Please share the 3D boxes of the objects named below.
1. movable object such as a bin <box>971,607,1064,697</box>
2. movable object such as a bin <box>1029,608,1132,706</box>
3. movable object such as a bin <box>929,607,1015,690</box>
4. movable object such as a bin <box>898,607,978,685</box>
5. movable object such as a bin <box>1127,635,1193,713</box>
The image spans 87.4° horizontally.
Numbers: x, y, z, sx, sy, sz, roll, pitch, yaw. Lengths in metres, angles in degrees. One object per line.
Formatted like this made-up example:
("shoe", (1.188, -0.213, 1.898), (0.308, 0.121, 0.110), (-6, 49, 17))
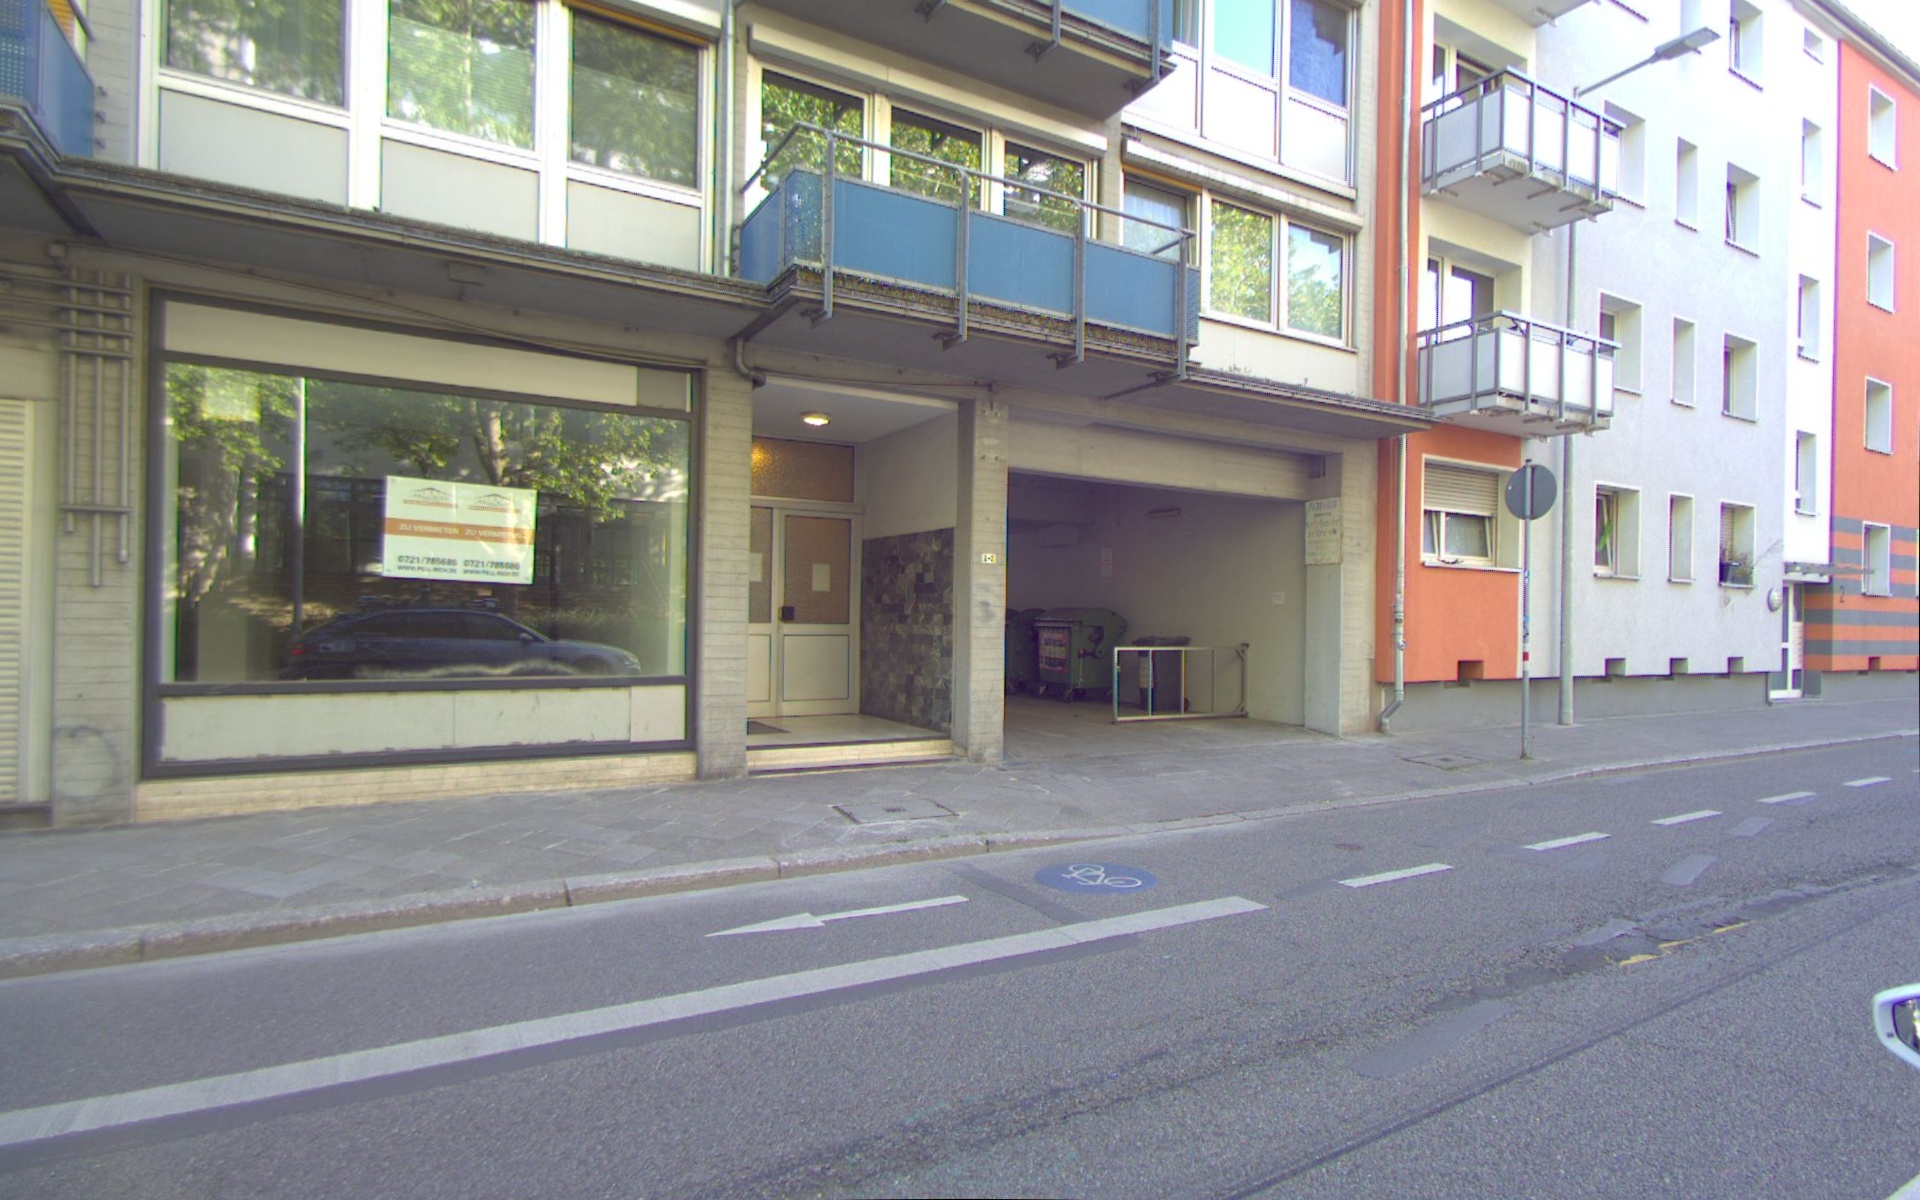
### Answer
("movable object such as a bin", (0.975, 0.862, 17.167), (1.116, 1.444, 1.201), (1, 0, -30))
("movable object such as a bin", (1.887, 0.867, 15.808), (1.116, 1.444, 1.201), (1, 0, -30))
("movable object such as a bin", (0.204, 0.868, 18.465), (1.116, 1.444, 1.201), (1, 0, -30))
("movable object such as a bin", (-0.443, 0.875, 19.614), (1.116, 1.444, 1.201), (1, 0, -30))
("movable object such as a bin", (2.884, 1.049, 14.497), (0.667, 1.079, 0.639), (1, 0, -30))
